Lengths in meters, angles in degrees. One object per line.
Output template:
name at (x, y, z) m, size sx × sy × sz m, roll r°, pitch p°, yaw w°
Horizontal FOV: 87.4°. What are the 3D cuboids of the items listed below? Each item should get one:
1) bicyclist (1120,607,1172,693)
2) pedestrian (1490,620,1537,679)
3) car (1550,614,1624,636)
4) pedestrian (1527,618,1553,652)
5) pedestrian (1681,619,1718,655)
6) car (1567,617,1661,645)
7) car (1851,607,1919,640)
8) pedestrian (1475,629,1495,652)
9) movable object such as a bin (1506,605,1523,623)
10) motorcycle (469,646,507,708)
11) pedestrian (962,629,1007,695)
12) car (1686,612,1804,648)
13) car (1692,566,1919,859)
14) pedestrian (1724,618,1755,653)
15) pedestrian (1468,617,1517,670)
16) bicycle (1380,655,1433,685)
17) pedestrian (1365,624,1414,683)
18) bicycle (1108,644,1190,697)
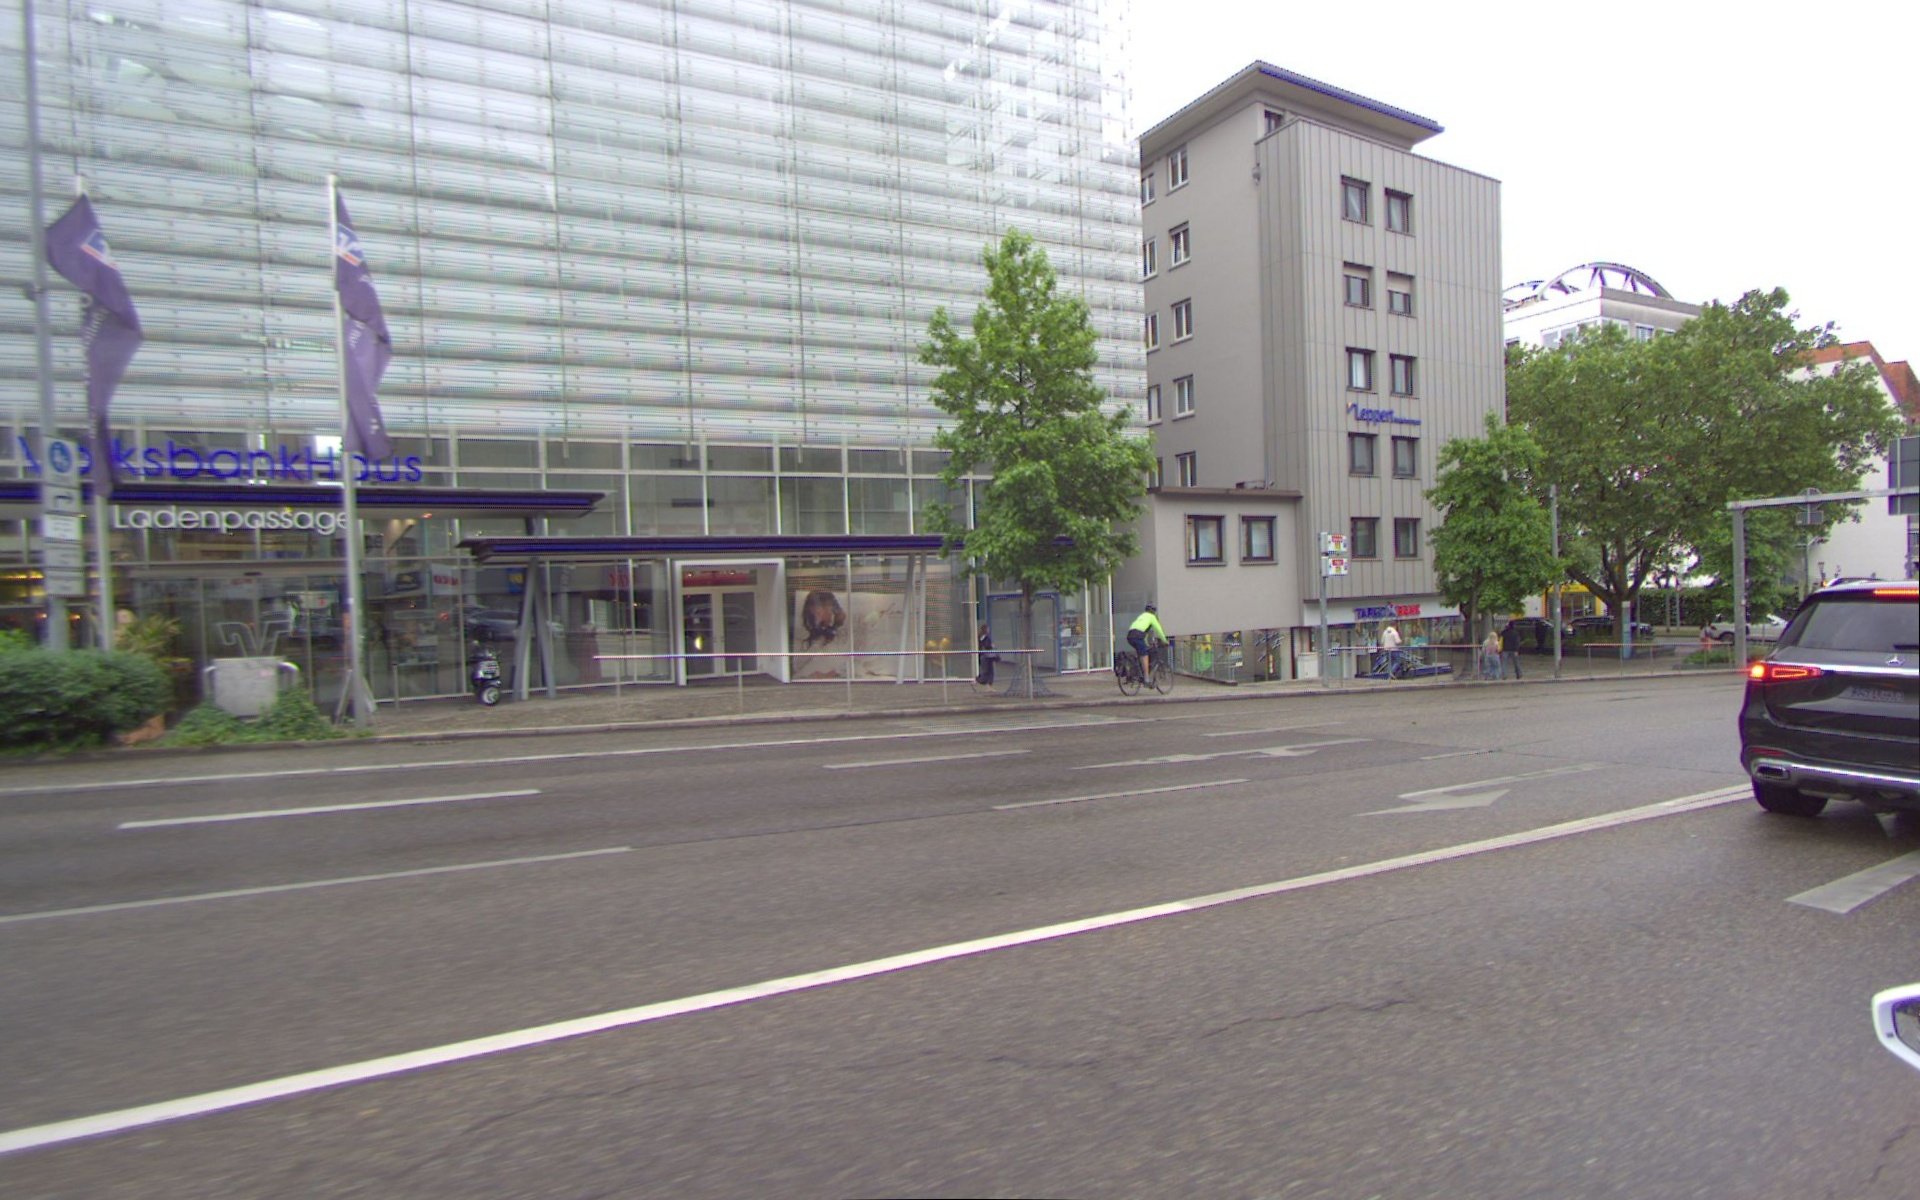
bicyclist at (4.098, 1.093, 22.136) m, size 0.983 × 1.854 × 0.663 m, roll 2°, pitch -3°, yaw -41°
pedestrian at (16.556, 1.467, 30.053) m, size 1.302 × 1.735 × 0.809 m, roll 1°, pitch -2°, yaw -40°
car at (38.597, 1.543, 61.892) m, size 1.628 × 1.305 × 3.644 m, roll 1°, pitch -1°, yaw -45°
pedestrian at (30.835, 1.861, 53.423) m, size 0.937 × 1.745 × 0.756 m, roll 0°, pitch -1°, yaw -20°
pedestrian at (36.530, 1.822, 49.621) m, size 0.997 × 1.745 × 0.950 m, roll -2°, pitch -1°, yaw -11°
car at (40.981, 1.914, 63.016) m, size 1.987 × 1.612 × 4.651 m, roll 1°, pitch -1°, yaw -45°
car at (50.906, 1.270, 53.835) m, size 4.631 × 1.665 × 1.777 m, roll 2°, pitch 0°, yaw 43°
pedestrian at (29.913, 2.302, 57.240) m, size 0.935 × 1.289 × 0.758 m, roll -1°, pitch -1°, yaw 31°
movable object such as a bin at (46.420, 1.161, 84.138) m, size 0.594 × 1.465 × 1.107 m, roll 0°, pitch -2°, yaw -29°
motorcycle at (-10.707, 1.725, 22.773) m, size 0.759 × 1.312 × 1.542 m, roll 0°, pitch -1°, yaw -26°
pedestrian at (0.558, 1.417, 23.239) m, size 0.833 × 1.476 × 0.650 m, roll 0°, pitch -1°, yaw -26°
car at (43.931, 1.662, 56.282) m, size 1.987 × 1.782 × 5.020 m, roll 1°, pitch 0°, yaw -45°
car at (7.930, 0.726, 7.764) m, size 4.740 × 1.841 × 2.075 m, roll 1°, pitch 1°, yaw -33°
pedestrian at (39.176, 1.780, 50.474) m, size 0.749 × 1.745 × 0.946 m, roll 0°, pitch -1°, yaw -24°
pedestrian at (17.690, 1.437, 33.385) m, size 1.075 × 1.745 × 0.970 m, roll 0°, pitch -1°, yaw -26°
bicycle at (17.450, 2.719, 39.222) m, size 2.643 × 1.101 × 0.608 m, roll 1°, pitch -1°, yaw -34°
pedestrian at (13.110, 1.608, 30.674) m, size 1.028 × 1.745 × 0.986 m, roll 0°, pitch -2°, yaw -36°
bicycle at (4.205, 1.537, 22.212) m, size 2.055 × 1.114 × 0.672 m, roll 2°, pitch -2°, yaw -42°
